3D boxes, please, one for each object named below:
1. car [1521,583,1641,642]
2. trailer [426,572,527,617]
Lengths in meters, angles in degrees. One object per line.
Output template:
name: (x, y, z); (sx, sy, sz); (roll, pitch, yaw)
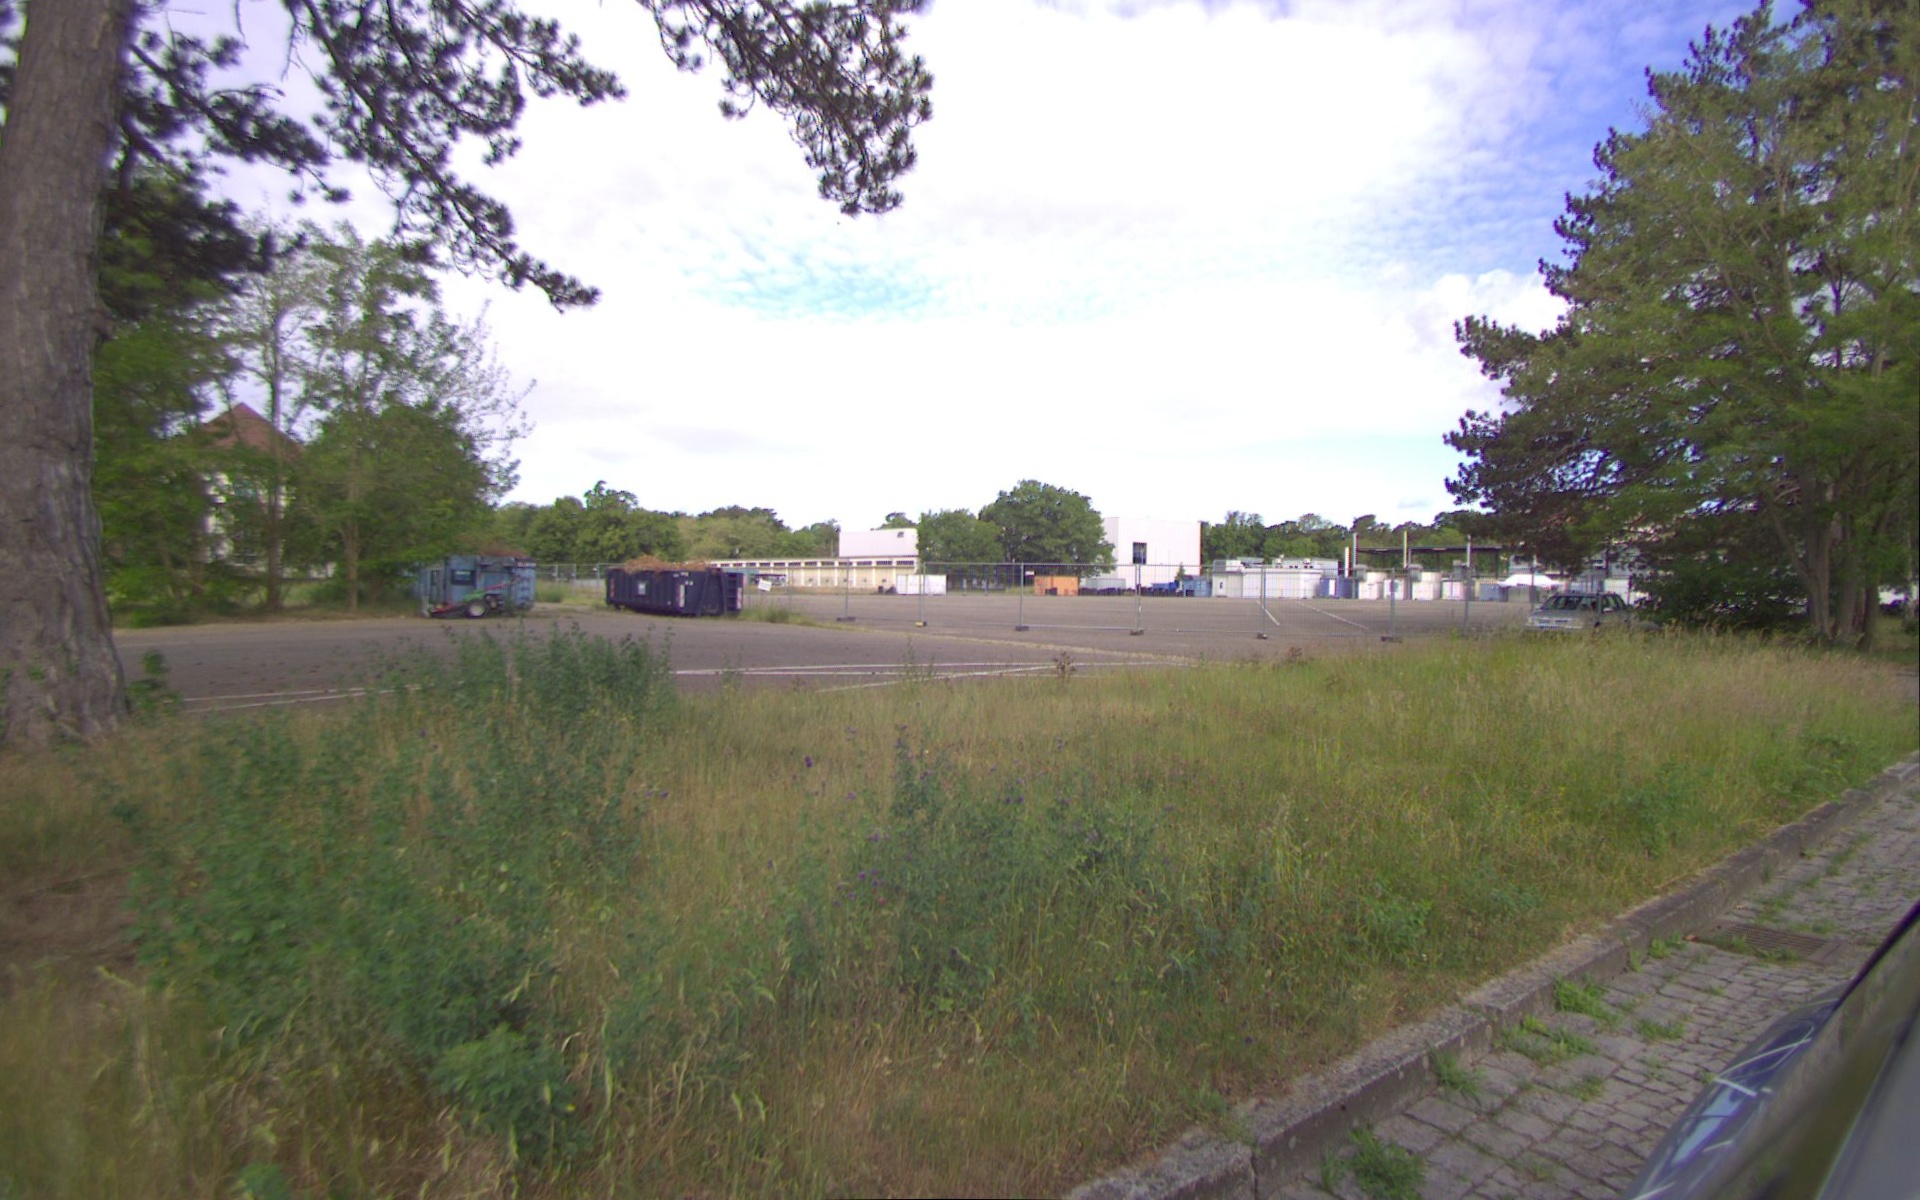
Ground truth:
car: (17.368, 0.290, 28.234); (4.082, 1.492, 1.860); (-1, 2, -44)
trailer: (-13.240, -0.134, 27.766); (2.279, 1.185, 1.142); (1, 0, -41)
